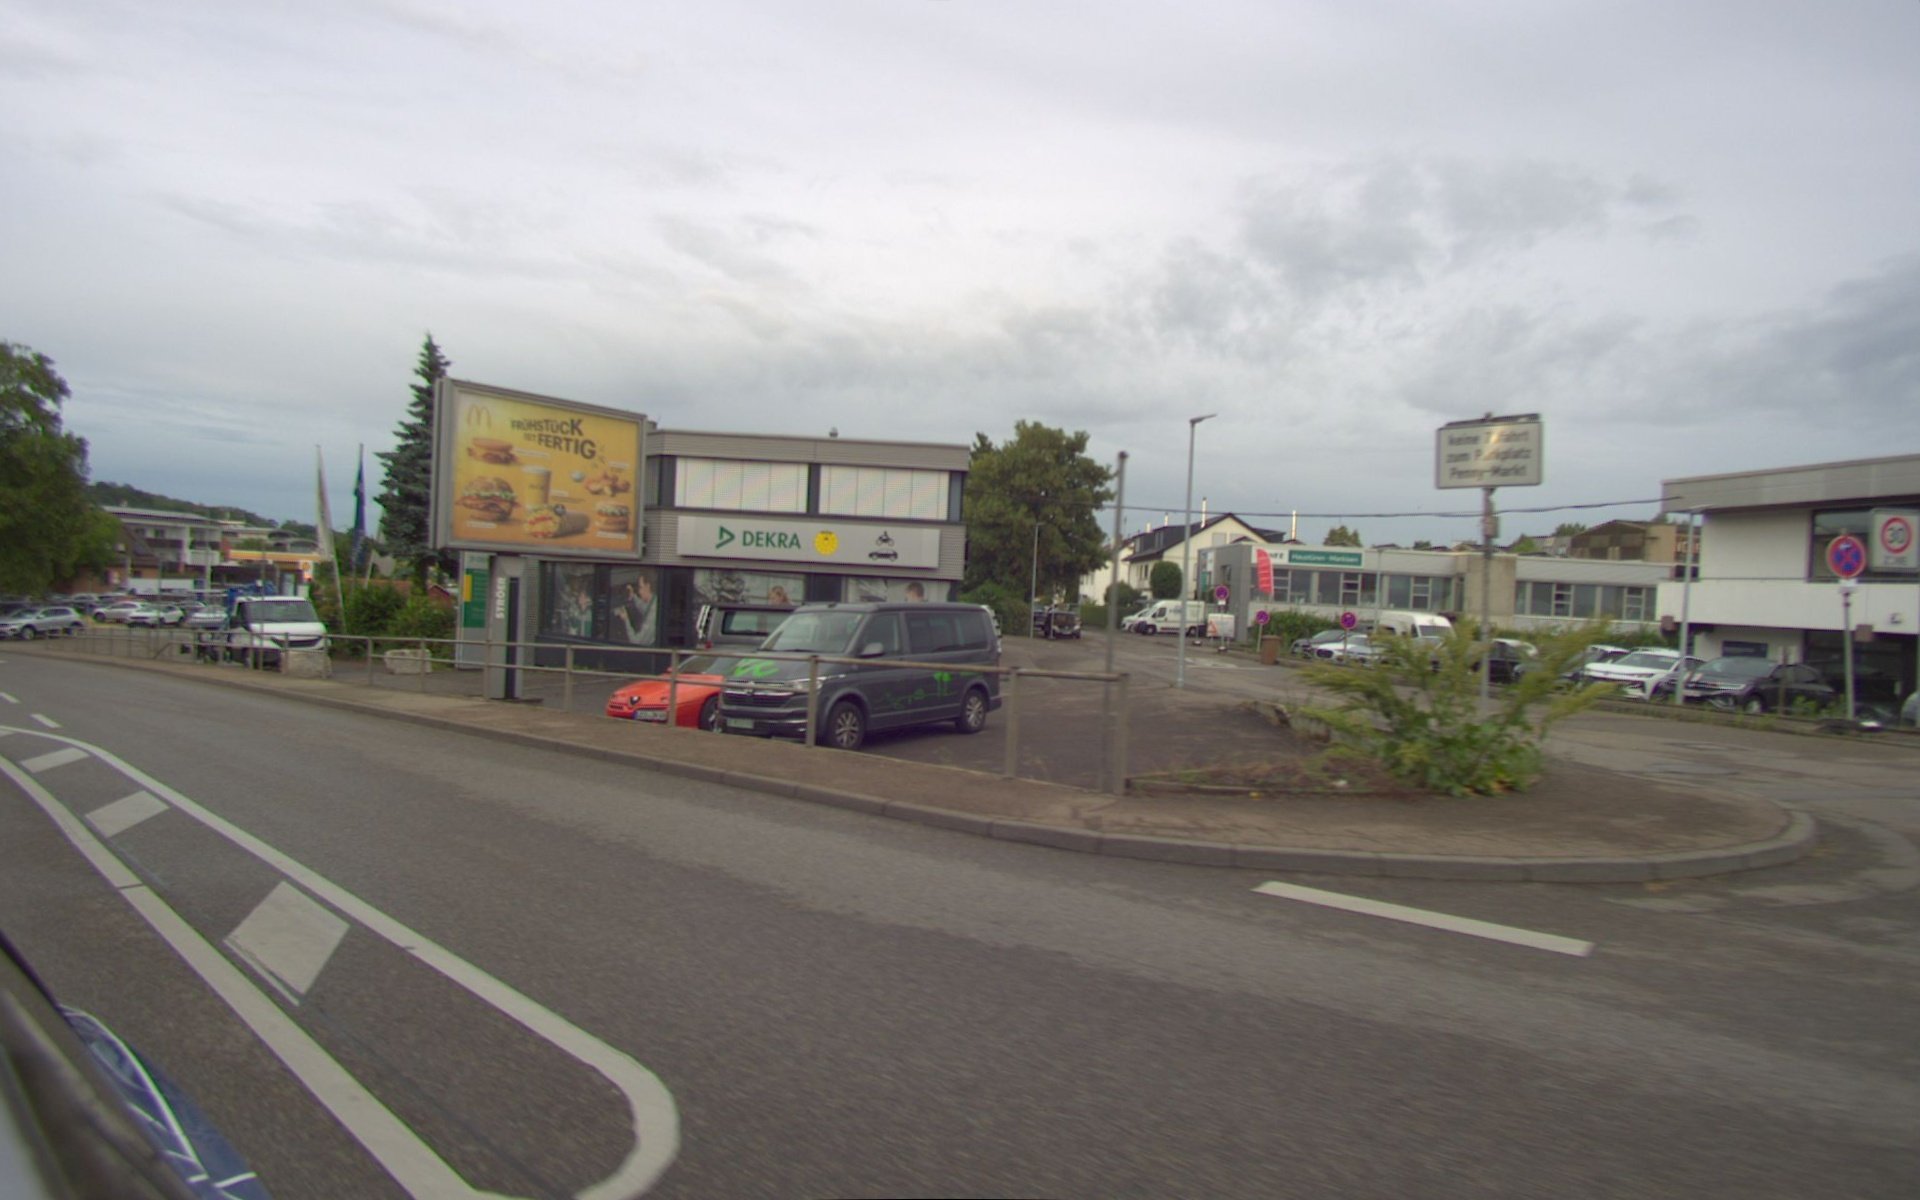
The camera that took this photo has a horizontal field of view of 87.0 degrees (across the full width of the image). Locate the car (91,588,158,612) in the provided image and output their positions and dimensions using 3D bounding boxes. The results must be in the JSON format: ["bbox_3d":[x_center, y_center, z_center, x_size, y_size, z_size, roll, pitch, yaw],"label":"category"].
[{"bbox_3d":[-81.362,0.004,98.652,2.026,2.102,5.251,2,-2,2],"label":"car"}]

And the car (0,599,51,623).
[{"bbox_3d":[-67.349,0.763,72.009,3.716,1.562,1.595,2,-1,-7],"label":"car"}]

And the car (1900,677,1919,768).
[{"bbox_3d":[17.518,2.002,16.332,4.034,1.439,1.896,1,-2,-22],"label":"car"}]

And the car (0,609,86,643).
[{"bbox_3d":[-46.556,1.280,50.852,1.698,1.582,4.004,1,0,4],"label":"car"}]

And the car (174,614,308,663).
[{"bbox_3d":[-29.667,1.556,41.830,4.231,1.885,2.059,1,-1,7],"label":"car"}]

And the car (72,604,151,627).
[{"bbox_3d":[-58.751,1.081,70.091,3.989,1.463,1.789,2,-1,2],"label":"car"}]

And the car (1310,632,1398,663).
[{"bbox_3d":[15.886,1.916,40.810,3.205,1.188,1.456,1,-2,-22],"label":"car"}]

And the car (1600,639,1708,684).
[{"bbox_3d":[36.375,3.183,53.253,1.972,1.979,5.378,0,1,0],"label":"car"}]

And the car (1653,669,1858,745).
[{"bbox_3d":[17.324,2.275,22.060,3.921,1.439,1.785,1,-2,-22],"label":"car"}]

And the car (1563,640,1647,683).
[{"bbox_3d":[33.661,3.157,52.945,1.828,2.029,3.999,3,-2,1],"label":"car"}]

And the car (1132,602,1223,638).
[{"bbox_3d":[15.071,1.381,70.470,5.793,2.387,2.148,0,1,-2],"label":"car"}]

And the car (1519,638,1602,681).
[{"bbox_3d":[31.230,3.070,52.794,1.882,2.029,3.999,3,-2,1],"label":"car"}]

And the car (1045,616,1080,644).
[{"bbox_3d":[5.763,1.698,57.244,1.384,1.559,3.218,1,-1,-5],"label":"car"}]

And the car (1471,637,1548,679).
[{"bbox_3d":[28.664,2.983,52.899,1.792,2.029,3.999,3,-2,1],"label":"car"}]

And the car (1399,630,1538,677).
[{"bbox_3d":[16.298,1.697,32.456,3.921,1.439,1.850,1,-2,-22],"label":"car"}]

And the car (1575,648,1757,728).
[{"bbox_3d":[17.402,2.104,24.970,3.921,1.802,1.826,1,-2,-22],"label":"car"}]

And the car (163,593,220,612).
[{"bbox_3d":[-80.557,0.284,106.125,2.026,1.878,4.918,2,-2,2],"label":"car"}]

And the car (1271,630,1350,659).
[{"bbox_3d":[14.887,1.893,43.016,3.010,1.197,1.386,1,-2,-22],"label":"car"}]

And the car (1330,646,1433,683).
[{"bbox_3d":[15.781,2.386,37.917,3.441,1.299,1.595,1,-2,-22],"label":"car"}]

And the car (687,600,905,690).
[{"bbox_3d":[-3.778,1.029,23.951,4.810,2.002,1.999,0,-1,1],"label":"car"}]

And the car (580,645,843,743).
[{"bbox_3d":[-3.804,1.396,16.183,1.763,1.277,4.063,0,-2,30],"label":"car"}]

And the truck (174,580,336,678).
[{"bbox_3d":[-21.555,0.820,30.728,7.886,2.653,1.973,0,-2,40],"label":"truck"}]

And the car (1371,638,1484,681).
[{"bbox_3d":[16.402,2.077,35.524,3.530,1.439,1.588,1,-2,-22],"label":"car"}]

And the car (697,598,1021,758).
[{"bbox_3d":[-1.193,0.992,14.510,1.818,1.885,5.024,0,-2,34],"label":"car"}]

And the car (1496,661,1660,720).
[{"bbox_3d":[16.902,2.422,27.703,3.921,1.439,1.850,1,-2,-22],"label":"car"}]

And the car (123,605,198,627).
[{"bbox_3d":[-57.362,1.150,72.605,3.989,1.463,1.789,2,-1,2],"label":"car"}]

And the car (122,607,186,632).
[{"bbox_3d":[-52.152,1.220,65.580,1.760,1.521,4.055,2,-1,-15],"label":"car"}]

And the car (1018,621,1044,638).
[{"bbox_3d":[5.082,2.131,72.683,1.360,1.197,3.066,1,-1,-5],"label":"car"}]

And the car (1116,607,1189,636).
[{"bbox_3d":[14.506,1.621,76.334,5.027,2.105,2.148,0,1,-2],"label":"car"}]

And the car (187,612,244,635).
[{"bbox_3d":[-48.792,1.501,66.418,1.798,1.426,4.022,2,-1,-18],"label":"car"}]

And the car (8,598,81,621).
[{"bbox_3d":[-67.614,0.719,74.768,3.716,1.562,1.595,2,-1,-7],"label":"car"}]

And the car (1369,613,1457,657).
[{"bbox_3d":[23.683,1.792,53.210,1.972,2.029,5.878,0,1,0],"label":"car"}]

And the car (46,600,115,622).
[{"bbox_3d":[-67.809,0.851,78.058,3.716,1.562,1.595,2,-1,-7],"label":"car"}]
